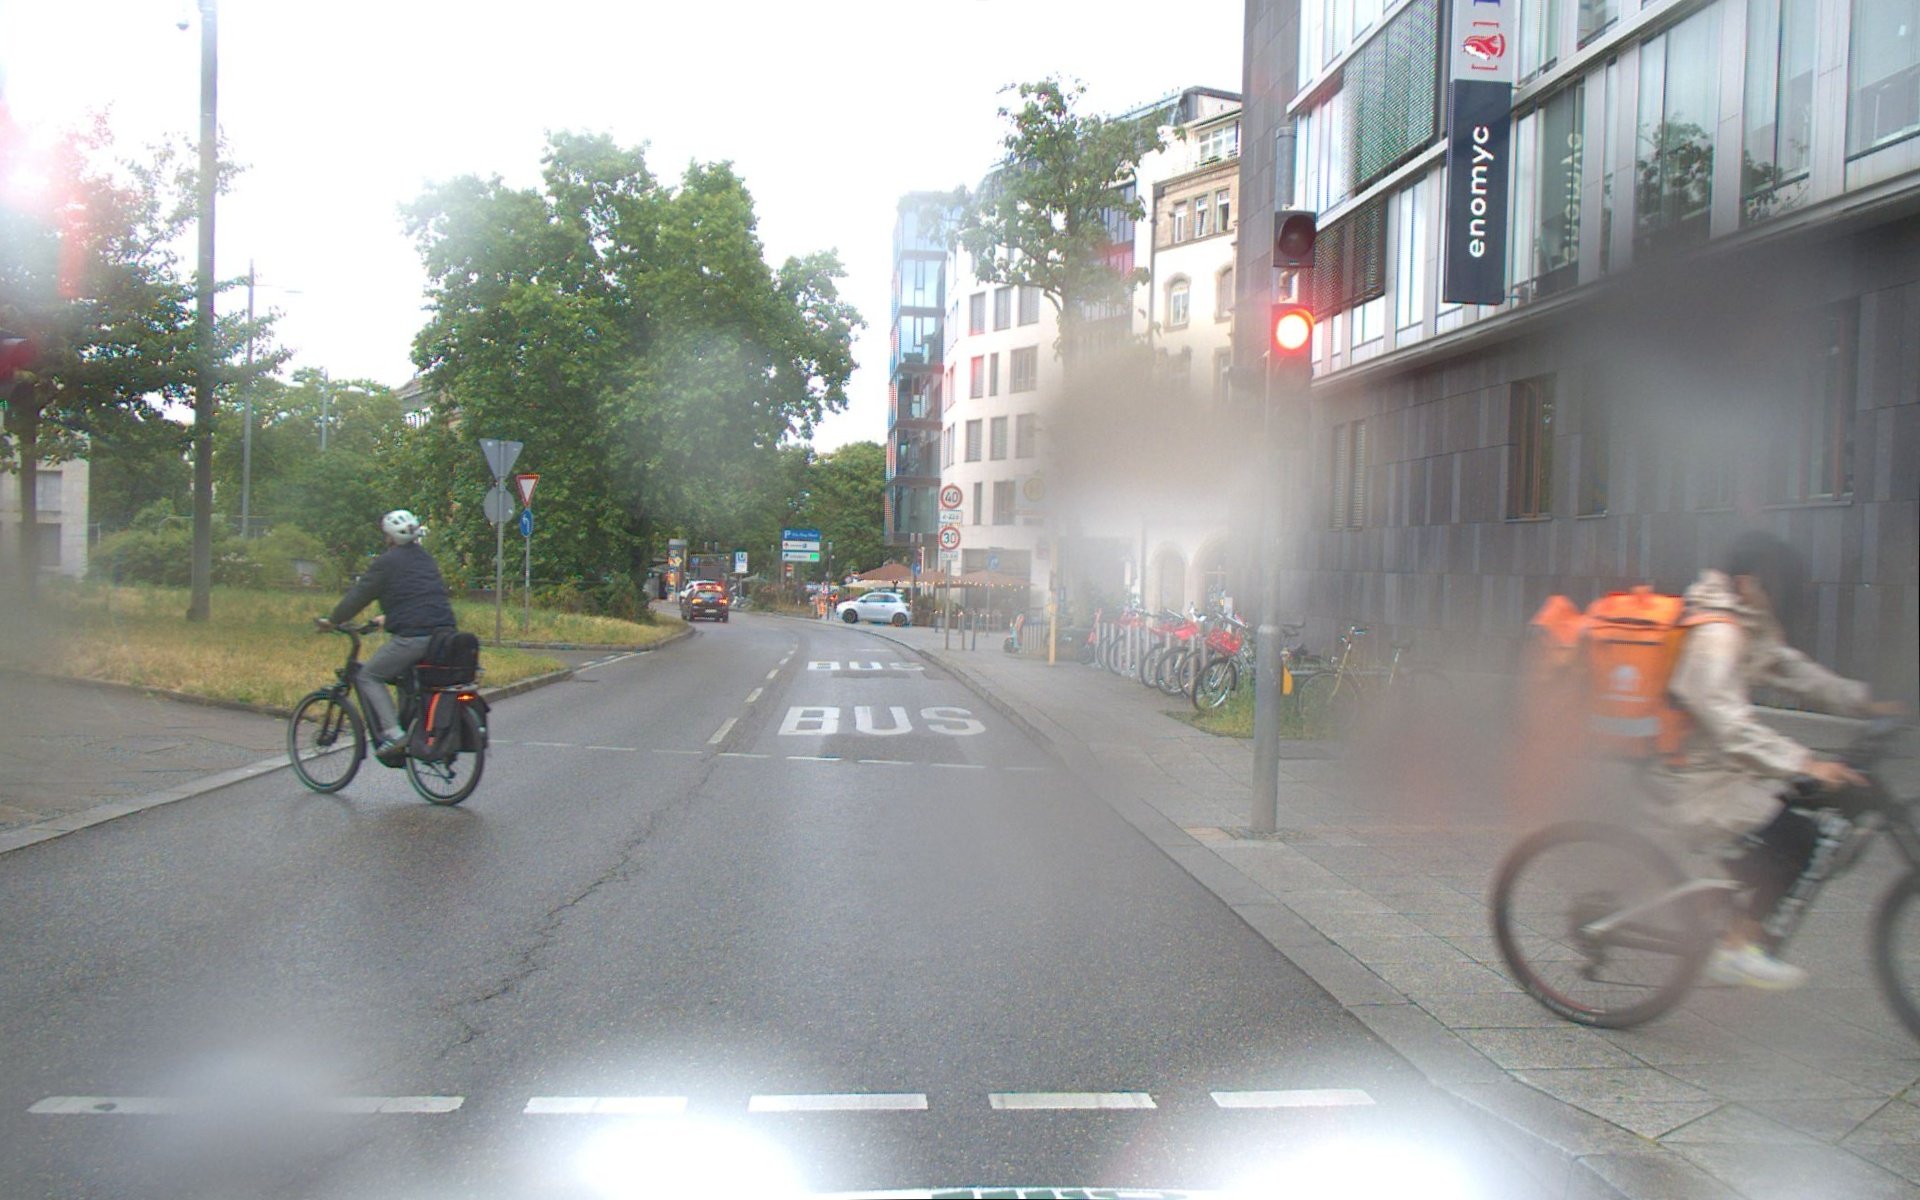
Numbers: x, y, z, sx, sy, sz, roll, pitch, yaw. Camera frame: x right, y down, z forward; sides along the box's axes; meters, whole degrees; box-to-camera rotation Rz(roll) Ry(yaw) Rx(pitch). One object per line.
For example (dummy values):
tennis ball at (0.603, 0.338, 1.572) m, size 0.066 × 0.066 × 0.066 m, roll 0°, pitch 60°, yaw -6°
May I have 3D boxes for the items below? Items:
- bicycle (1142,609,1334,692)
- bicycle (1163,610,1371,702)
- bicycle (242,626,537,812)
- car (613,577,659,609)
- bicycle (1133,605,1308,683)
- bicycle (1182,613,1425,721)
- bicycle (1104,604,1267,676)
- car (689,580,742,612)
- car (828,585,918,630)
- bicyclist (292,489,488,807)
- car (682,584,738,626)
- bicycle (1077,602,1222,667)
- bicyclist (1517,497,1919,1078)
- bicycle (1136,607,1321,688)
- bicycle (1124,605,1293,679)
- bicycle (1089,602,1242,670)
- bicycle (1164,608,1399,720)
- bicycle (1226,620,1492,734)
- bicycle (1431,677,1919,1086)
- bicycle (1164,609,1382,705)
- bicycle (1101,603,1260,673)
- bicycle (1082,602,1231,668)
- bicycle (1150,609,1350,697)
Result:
bicycle at (3.782, 0.688, 22.545) m, size 2.486 × 1.078 × 0.677 m, roll 1°, pitch 0°, yaw -6°
bicycle at (3.857, 0.698, 20.869) m, size 2.486 × 1.106 × 0.677 m, roll 1°, pitch 0°, yaw -6°
bicycle at (-4.027, 0.787, 11.633) m, size 2.086 × 1.165 × 0.762 m, roll 1°, pitch 0°, yaw 29°
car at (-18.668, -0.417, 95.039) m, size 1.917 × 1.675 × 4.220 m, roll 2°, pitch 0°, yaw -20°
bicycle at (3.869, 0.651, 24.652) m, size 2.486 × 1.106 × 0.677 m, roll 1°, pitch 0°, yaw -6°
bicycle at (3.723, 0.720, 17.983) m, size 2.487 × 1.106 × 0.677 m, roll 1°, pitch 0°, yaw -6°
bicycle at (3.595, 0.636, 26.465) m, size 2.486 × 1.106 × 0.677 m, roll 1°, pitch 0°, yaw -6°
car at (-13.823, -0.243, 93.279) m, size 2.147 × 1.730 × 3.976 m, roll 2°, pitch 0°, yaw -21°
car at (-4.012, 0.326, 76.459) m, size 3.907 × 1.675 × 2.000 m, roll 6°, pitch 0°, yaw 0°
bicyclist at (-3.995, 0.314, 11.611) m, size 1.061 × 2.119 × 0.762 m, roll 1°, pitch 0°, yaw 29°
car at (-11.281, 0.201, 74.327) m, size 2.125 × 1.735 × 4.539 m, roll 2°, pitch 0°, yaw -13°
bicycle at (3.380, 0.615, 29.573) m, size 2.486 × 1.106 × 0.627 m, roll 1°, pitch 0°, yaw -6°
bicyclist at (2.568, 0.525, 5.383) m, size 1.113 × 1.609 × 1.011 m, roll 4°, pitch 0°, yaw 35°
bicycle at (3.797, 0.669, 23.454) m, size 2.486 × 1.106 × 0.677 m, roll 1°, pitch 0°, yaw -6°
bicycle at (3.843, 0.645, 25.630) m, size 2.486 × 1.106 × 0.677 m, roll 1°, pitch 0°, yaw -6°
bicycle at (3.484, 0.600, 28.105) m, size 2.486 × 1.106 × 0.677 m, roll 1°, pitch 0°, yaw -6°
bicycle at (3.635, 0.719, 18.786) m, size 2.487 × 1.106 × 0.677 m, roll 3°, pitch 0°, yaw -6°
bicycle at (3.967, 0.763, 16.510) m, size 2.487 × 1.075 × 0.677 m, roll 1°, pitch 0°, yaw -6°
bicycle at (2.667, 0.822, 5.283) m, size 2.025 × 1.133 × 1.008 m, roll -1°, pitch -3°, yaw 35°
bicycle at (3.773, 0.679, 20.013) m, size 2.486 × 1.106 × 0.677 m, roll 1°, pitch 0°, yaw -6°
bicycle at (3.619, 0.617, 27.218) m, size 2.486 × 1.106 × 0.677 m, roll 1°, pitch 0°, yaw -6°
bicycle at (3.426, 0.609, 28.851) m, size 2.486 × 1.106 × 0.677 m, roll 1°, pitch 0°, yaw -6°
bicycle at (3.789, 0.689, 21.679) m, size 2.486 × 1.106 × 0.677 m, roll 1°, pitch 0°, yaw -6°
